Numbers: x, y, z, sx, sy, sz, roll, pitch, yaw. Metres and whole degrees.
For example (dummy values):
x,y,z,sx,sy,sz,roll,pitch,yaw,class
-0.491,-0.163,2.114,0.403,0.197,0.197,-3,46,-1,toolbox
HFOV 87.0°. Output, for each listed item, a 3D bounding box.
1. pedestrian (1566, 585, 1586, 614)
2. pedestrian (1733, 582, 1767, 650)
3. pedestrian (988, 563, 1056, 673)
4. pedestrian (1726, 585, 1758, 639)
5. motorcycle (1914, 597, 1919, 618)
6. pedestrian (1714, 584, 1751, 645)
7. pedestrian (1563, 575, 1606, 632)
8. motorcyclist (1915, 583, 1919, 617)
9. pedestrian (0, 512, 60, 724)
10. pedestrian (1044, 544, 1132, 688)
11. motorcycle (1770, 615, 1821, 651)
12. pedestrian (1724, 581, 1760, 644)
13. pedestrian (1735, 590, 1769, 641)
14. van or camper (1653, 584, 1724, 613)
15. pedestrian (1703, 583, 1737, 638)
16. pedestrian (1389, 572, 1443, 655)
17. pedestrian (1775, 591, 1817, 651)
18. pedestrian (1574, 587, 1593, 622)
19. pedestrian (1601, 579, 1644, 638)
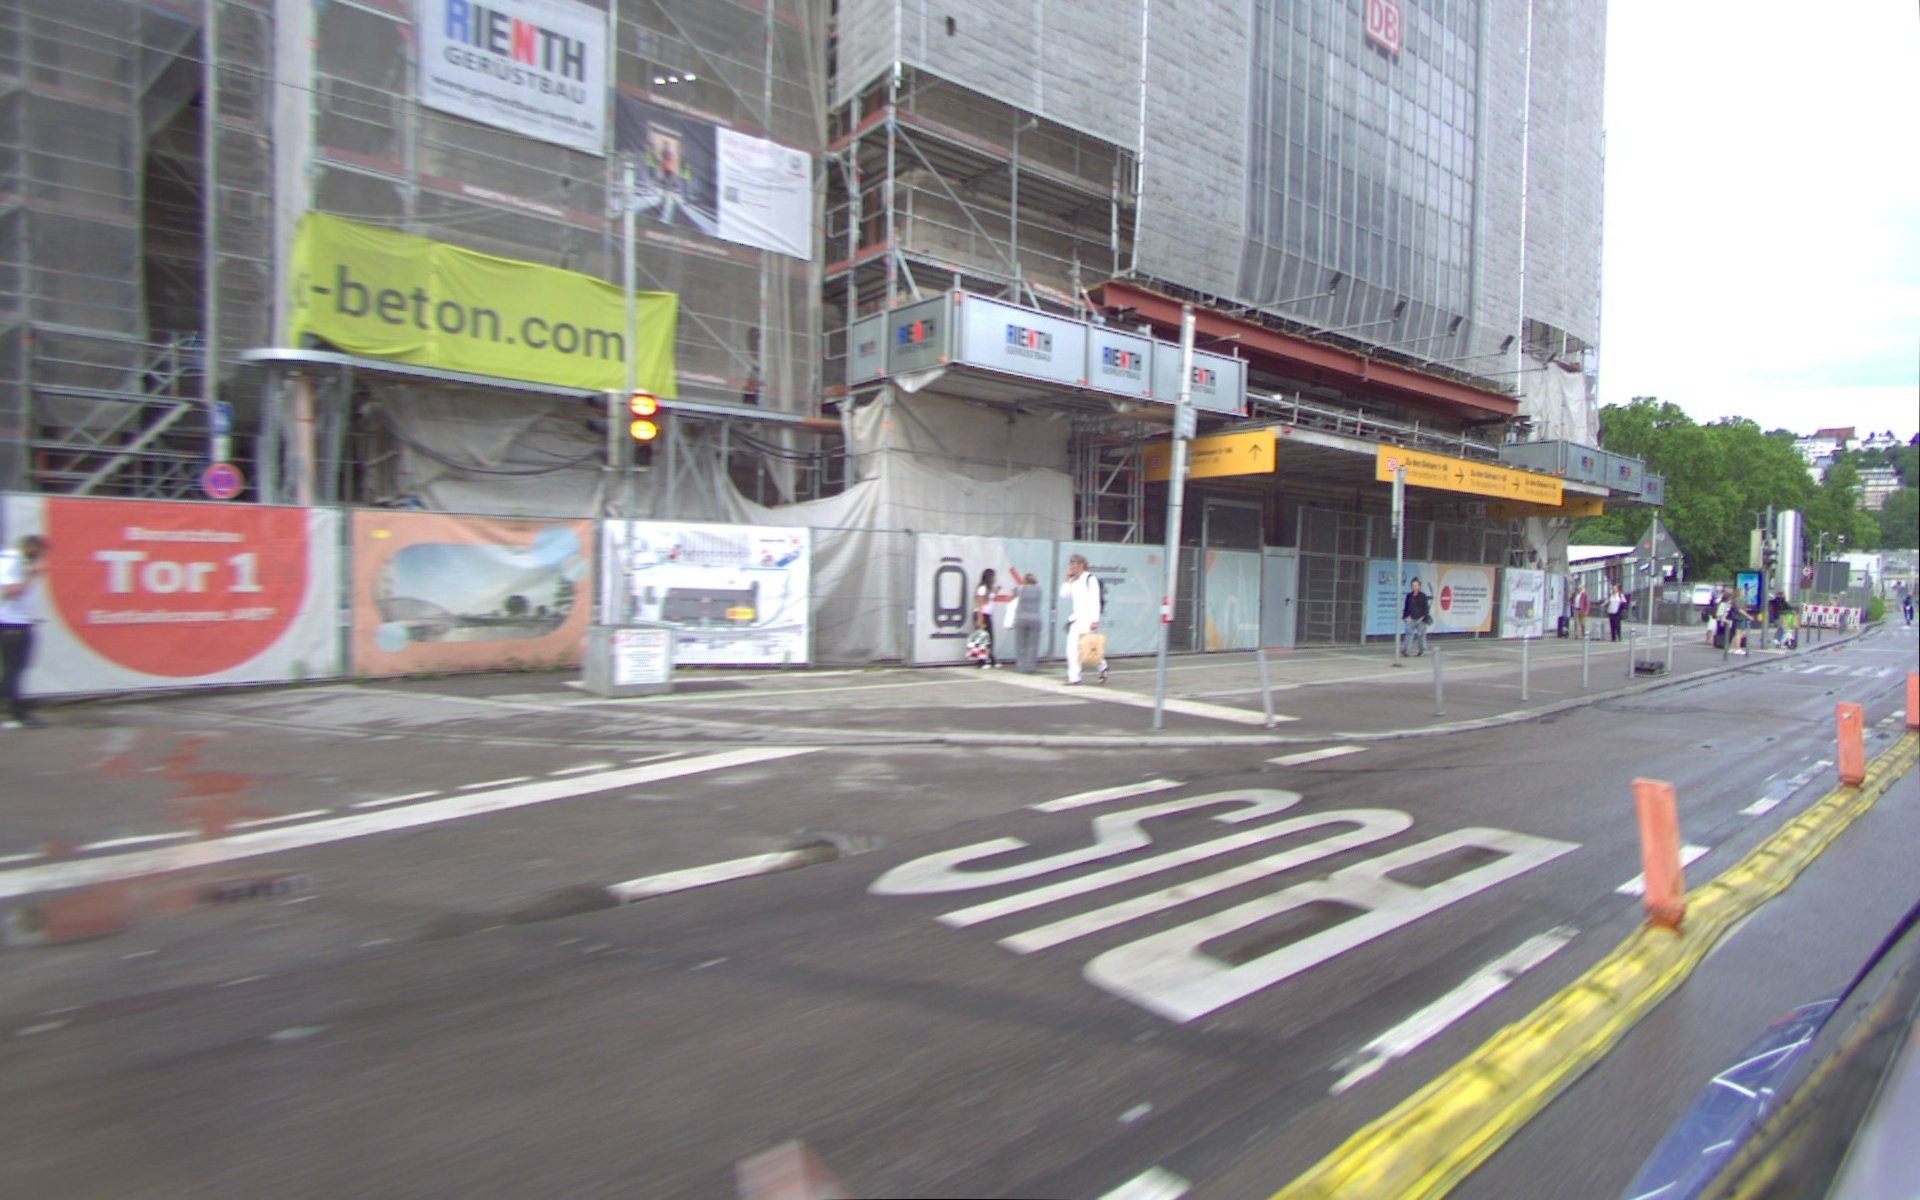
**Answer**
x,y,z,sx,sy,sz,roll,pitch,yaw,class
34.964,-0.028,57.481,0.854,1.613,0.698,0,0,42,pedestrian
21.203,0.416,27.165,0.557,1.780,0.742,5,3,37,pedestrian
0.919,0.255,15.119,0.653,1.558,0.653,1,4,-39,pedestrian
24.906,0.380,32.233,0.603,1.670,0.560,1,4,-39,pedestrian
58.982,0.466,61.953,0.728,1.244,2.127,4,1,43,motorcycle
21.884,0.408,28.676,0.738,1.660,0.560,1,4,-39,pedestrian
19.104,0.111,30.938,1.089,1.703,0.735,1,1,-38,pedestrian
58.928,0.036,61.868,0.724,2.061,0.578,4,1,44,motorcyclist
-8.679,0.141,9.237,0.647,1.870,0.646,1,4,-40,pedestrian
1.747,0.198,13.838,0.796,1.870,0.725,1,4,-40,pedestrian
25.404,0.988,30.792,0.576,1.034,1.237,2,1,7,motorcycle
22.720,0.347,29.403,0.698,1.773,0.560,1,4,-39,pedestrian
24.043,0.469,30.717,0.698,1.466,0.560,1,4,-39,pedestrian
68.086,-0.168,94.704,2.343,2.431,6.059,3,1,3,van or camper
23.682,0.332,31.527,0.603,1.670,0.566,2,3,-35,pedestrian
9.503,0.269,21.101,0.978,1.652,0.551,1,4,-40,pedestrian
25.413,0.627,30.773,0.571,1.762,0.820,2,1,7,pedestrian
35.925,0.252,58.292,0.804,2.039,0.754,0,0,42,pedestrian
19.823,0.246,30.286,0.940,1.697,0.738,1,4,-41,pedestrian
